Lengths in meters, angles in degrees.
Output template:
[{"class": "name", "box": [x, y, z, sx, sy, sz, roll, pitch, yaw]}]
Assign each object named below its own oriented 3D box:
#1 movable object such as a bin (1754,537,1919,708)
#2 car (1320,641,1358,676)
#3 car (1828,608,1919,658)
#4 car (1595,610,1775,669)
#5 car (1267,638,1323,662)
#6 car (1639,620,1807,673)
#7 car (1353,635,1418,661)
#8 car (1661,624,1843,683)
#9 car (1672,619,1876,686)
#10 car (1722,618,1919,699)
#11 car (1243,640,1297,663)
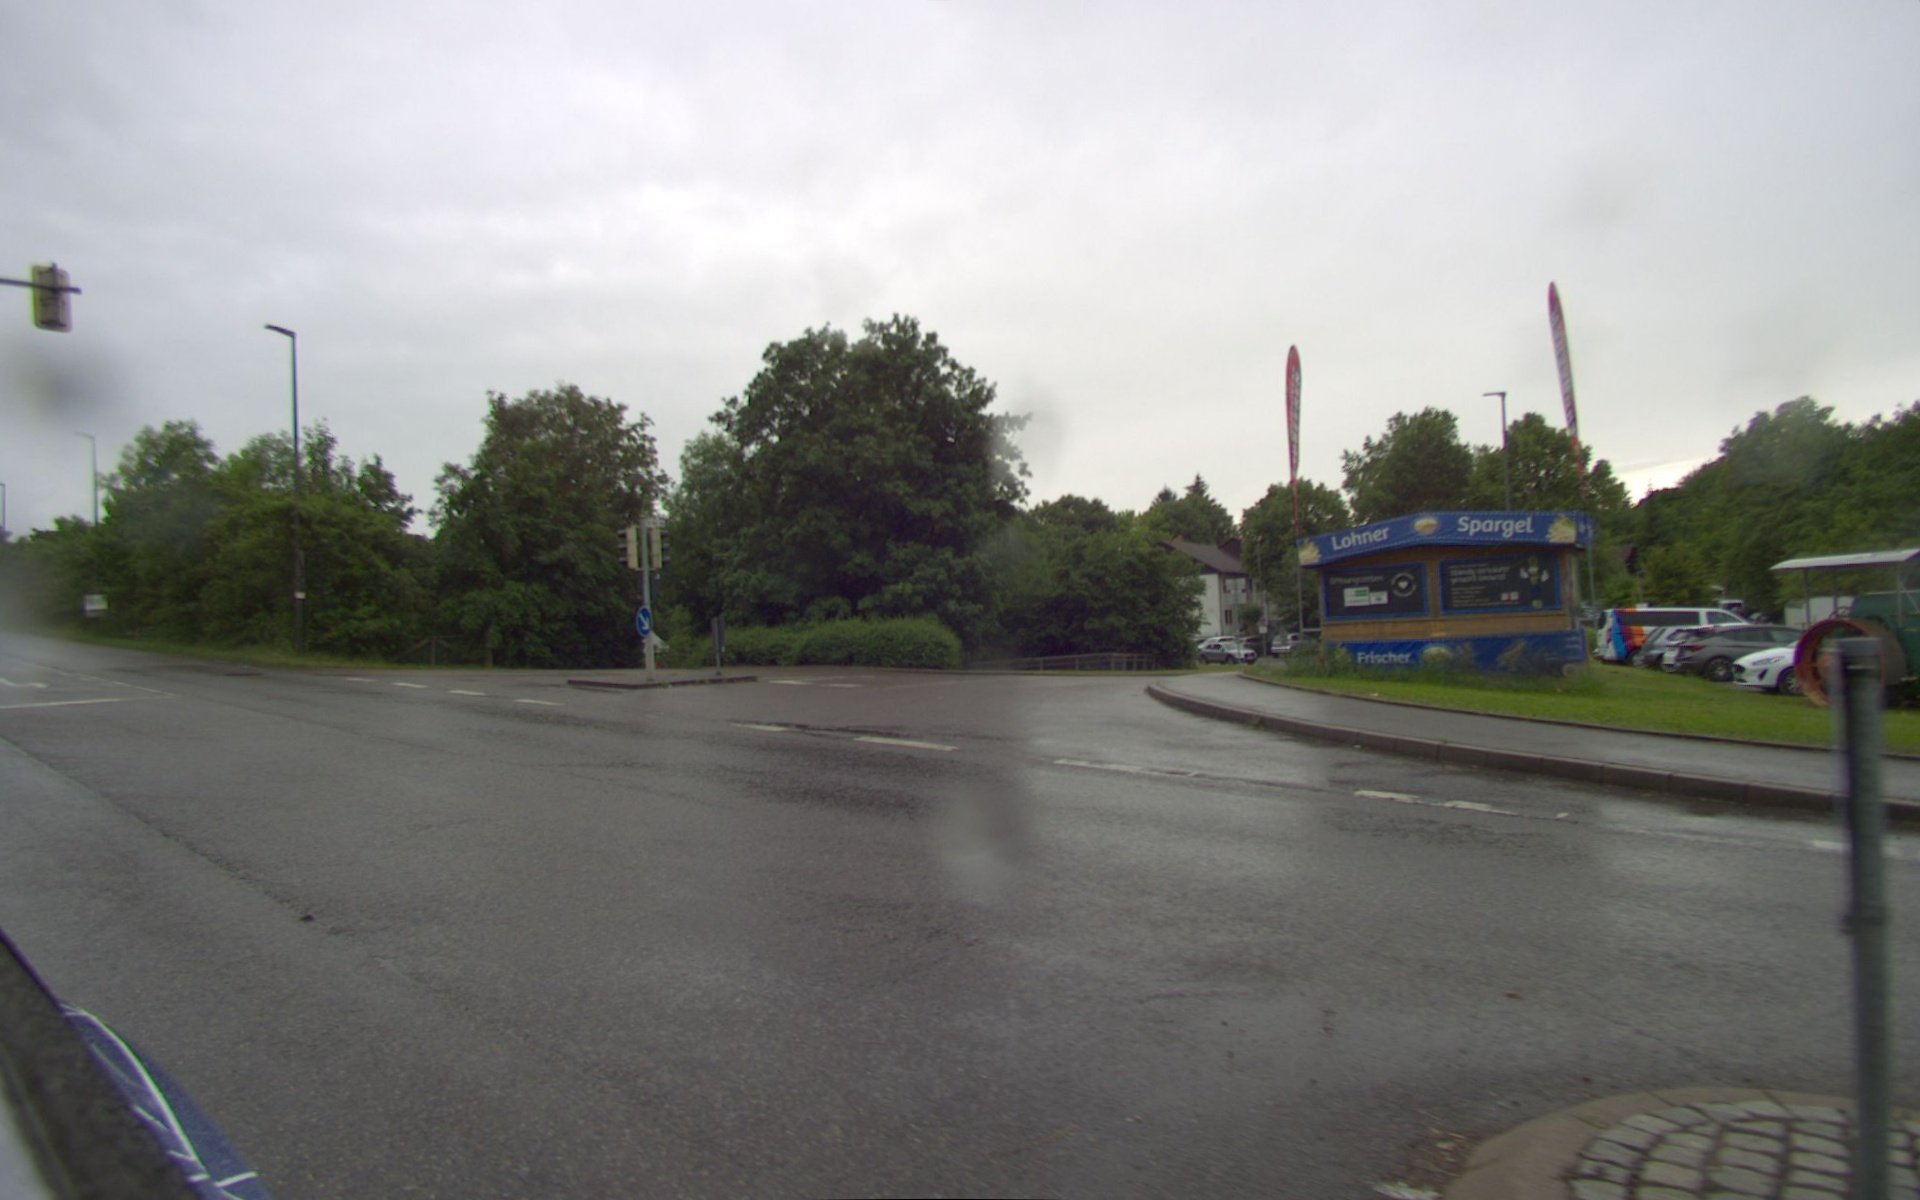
[{"class": "movable object such as a bin", "box": [16.317, 0.348, 16.024, 2.274, 2.707, 5.714, 0, -3, -10]}, {"class": "car", "box": [18.026, 2.766, 48.238, 1.639, 1.522, 3.579, -1, -2, 20]}, {"class": "car", "box": [36.754, 1.284, 39.527, 3.935, 1.894, 1.681, -1, -2, 22]}, {"class": "car", "box": [23.080, 1.238, 32.448, 4.367, 1.779, 1.904, -1, -2, 27]}, {"class": "car", "box": [22.763, 3.380, 68.757, 3.369, 1.522, 1.575, 0, -2, -23]}, {"class": "car", "box": [22.449, 1.351, 29.964, 3.691, 1.474, 1.578, -1, -2, 27]}, {"class": "car", "box": [25.664, 2.882, 61.004, 3.540, 1.522, 1.575, 0, -2, -23]}, {"class": "car", "box": [21.498, 1.427, 27.637, 3.609, 1.523, 1.578, -1, -2, 27]}, {"class": "car", "box": [20.356, 1.278, 25.508, 3.691, 1.586, 1.578, -1, -2, 27]}, {"class": "car", "box": [18.564, 1.183, 21.091, 3.978, 1.586, 1.656, -1, -2, 26]}, {"class": "car", "box": [21.799, 3.576, 71.073, 3.369, 1.522, 1.575, 0, -2, -23]}]
